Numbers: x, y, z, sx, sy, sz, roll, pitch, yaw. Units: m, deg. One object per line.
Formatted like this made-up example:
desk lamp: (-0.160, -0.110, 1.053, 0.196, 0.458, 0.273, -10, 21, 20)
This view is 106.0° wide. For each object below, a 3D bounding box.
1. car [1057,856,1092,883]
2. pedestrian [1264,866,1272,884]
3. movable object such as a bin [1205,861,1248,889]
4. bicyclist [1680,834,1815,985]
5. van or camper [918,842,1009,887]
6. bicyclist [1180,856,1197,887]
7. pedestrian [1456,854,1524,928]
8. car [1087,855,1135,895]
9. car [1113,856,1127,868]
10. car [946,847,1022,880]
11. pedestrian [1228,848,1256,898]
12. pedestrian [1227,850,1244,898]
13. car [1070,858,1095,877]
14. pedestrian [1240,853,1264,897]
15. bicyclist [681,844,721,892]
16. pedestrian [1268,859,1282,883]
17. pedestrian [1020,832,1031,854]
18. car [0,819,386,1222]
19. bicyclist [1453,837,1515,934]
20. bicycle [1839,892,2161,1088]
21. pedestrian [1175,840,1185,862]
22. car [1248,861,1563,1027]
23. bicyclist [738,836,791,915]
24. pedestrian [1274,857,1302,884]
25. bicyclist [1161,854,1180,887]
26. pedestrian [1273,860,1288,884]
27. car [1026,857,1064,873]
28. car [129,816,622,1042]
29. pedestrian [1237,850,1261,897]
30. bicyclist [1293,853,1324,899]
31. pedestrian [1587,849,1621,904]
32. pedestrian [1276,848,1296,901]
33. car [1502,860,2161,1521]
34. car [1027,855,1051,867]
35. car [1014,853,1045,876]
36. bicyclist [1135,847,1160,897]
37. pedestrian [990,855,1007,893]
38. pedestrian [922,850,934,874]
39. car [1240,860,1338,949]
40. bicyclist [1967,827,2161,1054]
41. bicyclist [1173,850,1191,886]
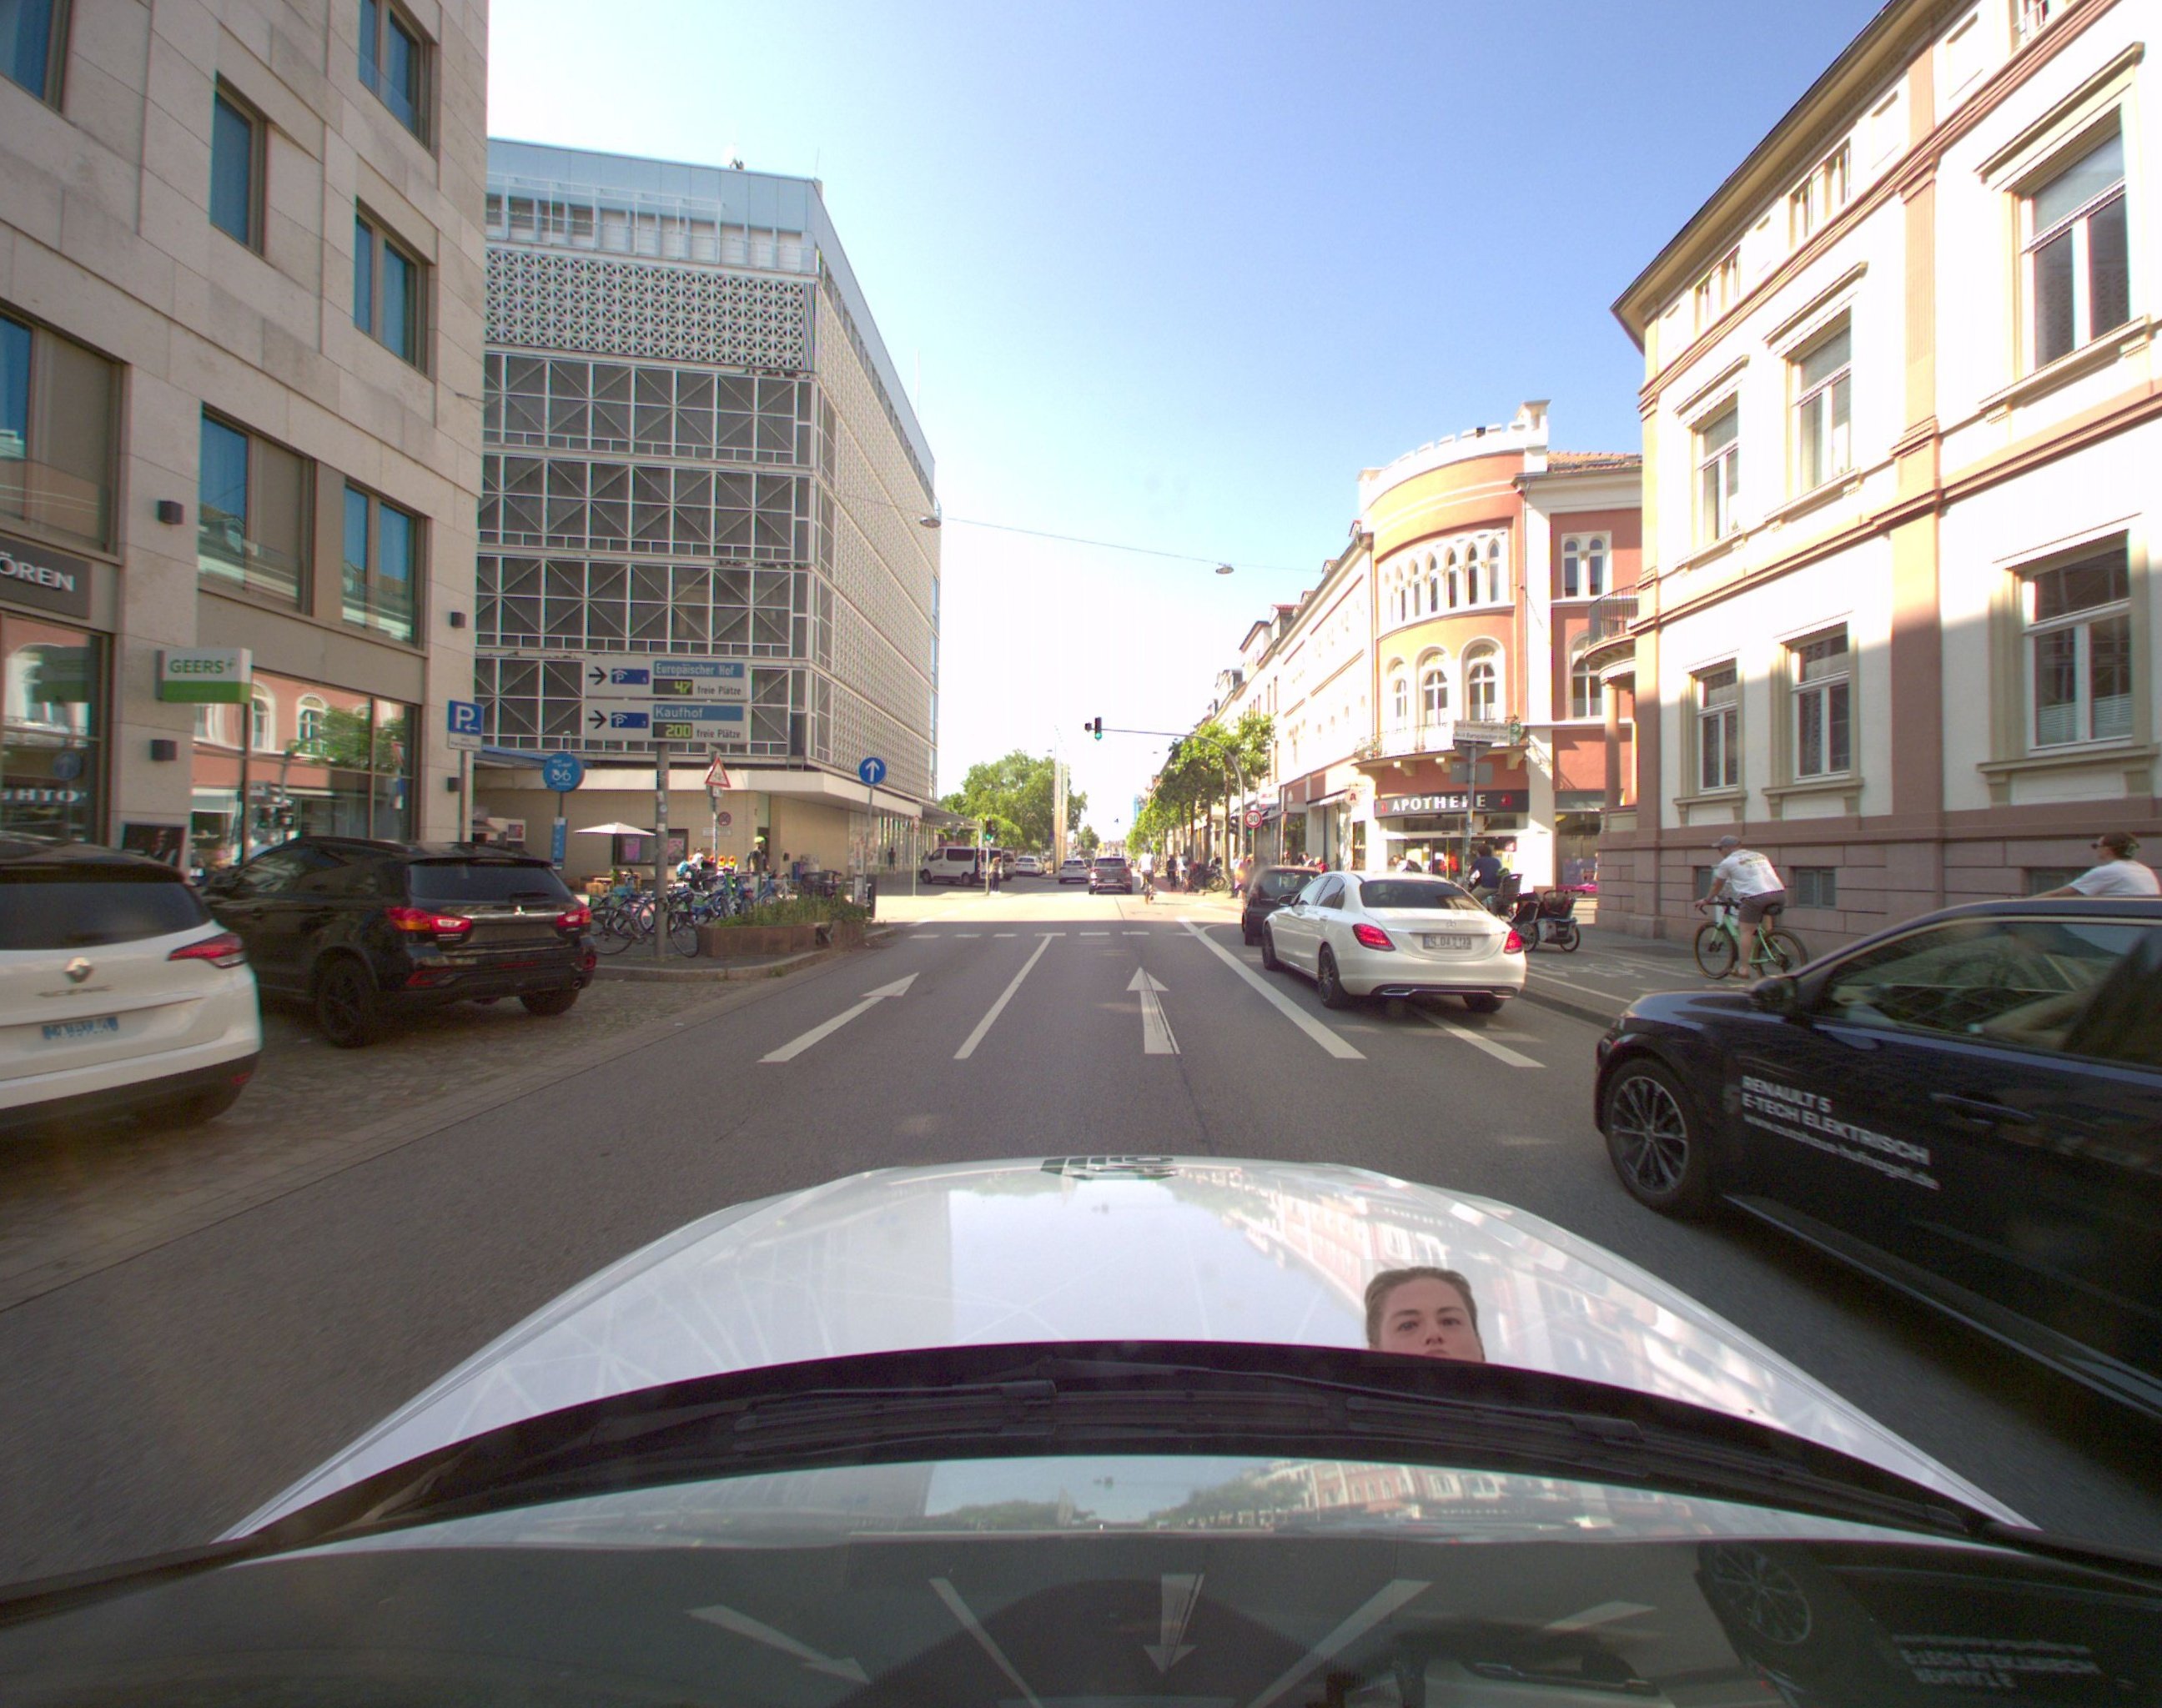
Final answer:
car: (-0.342, 0.877, 47.814, 1.838, 1.560, 4.002, 0, 0, 2)
pedestrian: (10.263, 1.131, 44.641, 0.363, 0.968, 0.437, 1, 0, 3)
movable object such as a bin: (6.753, 0.952, 37.716, 1.836, 1.189, 0.656, 2, 0, 17)
bicyclist: (7.819, 0.606, 9.609, 0.570, 1.661, 1.156, -1, 0, -6)
van or camper: (-5.959, 0.487, 40.979, 4.602, 2.013, 2.012, 2, 0, 41)
bicyclist: (4.882, 0.801, 36.964, 0.598, 1.358, 0.720, 2, -2, -2)
pedestrian: (9.293, 0.841, 18.528, 0.905, 1.612, 0.967, 0, -4, -27)
car: (1.194, 0.835, 34.145, 1.840, 1.559, 3.999, 0, 0, 0)
car: (5.784, 1.126, 121.169, 1.838, 1.668, 4.001, 2, 0, 2)
car: (-5.909, 0.538, 49.211, 4.389, 1.909, 2.022, 1, 0, 38)
pedestrian: (5.658, 0.677, 28.594, 0.637, 1.709, 0.789, -5, -3, -2)
pedestrian: (5.856, 0.737, 30.862, 0.451, 1.795, 0.608, 2, 0, 0)
car: (0.168, 1.080, 64.702, 1.839, 1.449, 4.001, 0, 0, 1)
pedestrian: (6.601, 0.798, 31.499, 0.785, 1.690, 0.641, 1, 0, -1)
bicyclist: (-12.631, 0.465, 27.064, 1.081, 1.539, 0.728, -2, 1, -33)
pedestrian: (11.001, 0.956, 46.246, 0.679, 1.333, 0.532, 1, 0, -1)
pedestrian: (-4.511, -0.895, 66.282, 0.526, 1.793, 0.542, 0, -4, 41)
car: (-6.575, 0.638, 4.334, 4.132, 1.637, 2.108, 4, 0, 10)
bicyclist: (7.202, 0.552, 14.594, 0.727, 1.673, 0.775, -1, -1, 3)
bicycle: (7.497, 0.951, 6.118, 0.745, 1.127, 3.244, -1, 1, 4)
pedestrian: (7.955, -0.258, 65.289, 0.637, 1.689, 0.843, 3, 0, 0)
car: (3.509, 0.856, 9.976, 1.945, 1.425, 4.887, 2, 0, 1)
bicyclist: (-8.041, 0.538, 20.696, 0.837, 1.960, 1.019, 0, -1, 8)
pedestrian: (10.771, 0.865, 42.330, 1.229, 1.422, 0.789, 0, -2, -1)
bicyclist: (4.071, 0.744, 36.993, 0.696, 1.441, 0.790, 2, -1, -1)
pedestrian: (10.895, 0.983, 44.507, 0.637, 1.253, 0.608, -1, -2, -1)
car: (-3.828, 1.165, 87.756, 1.873, 1.541, 4.892, 1, 2, 29)
car: (-6.688, 0.552, 7.749, 3.985, 1.603, 1.969, 2, -1, 24)
pedestrian: (6.632, 0.769, 32.200, 0.785, 1.795, 0.641, 2, 0, -1)
bicyclist: (7.001, 0.672, 25.083, 0.855, 1.411, 0.501, 0, 0, 2)
pedestrian: (16.291, 0.686, 25.382, 0.634, 1.658, 0.793, 1, 2, 13)
pedestrian: (7.325, 0.731, 29.120, 0.634, 1.843, 0.617, 2, -1, 13)
car: (3.428, 0.819, 2.710, 1.879, 1.491, 4.291, 3, -1, 1)
car: (-6.897, 1.155, 134.169, 1.843, 1.955, 4.786, 0, -1, 23)
car: (-3.820, 0.747, 60.665, 1.792, 1.523, 4.741, 1, 0, 2)
bicyclist: (2.177, 0.580, 26.772, 0.771, 1.635, 0.852, 0, 0, 2)
pedestrian: (-3.478, 0.837, 34.408, 0.639, 1.559, 0.679, 2, 0, -10)
pedestrian: (-10.045, 0.537, 53.492, 0.677, 1.559, 0.640, 0, 0, -3)
car: (3.936, 0.906, 15.866, 1.618, 1.478, 3.742, 1, -1, 11)
bicyclist: (7.489, 0.594, 6.123, 0.743, 1.573, 0.845, -2, 2, 2)
bicyclist: (4.196, 0.585, 33.934, 0.628, 1.481, 1.198, 0, -2, 1)
